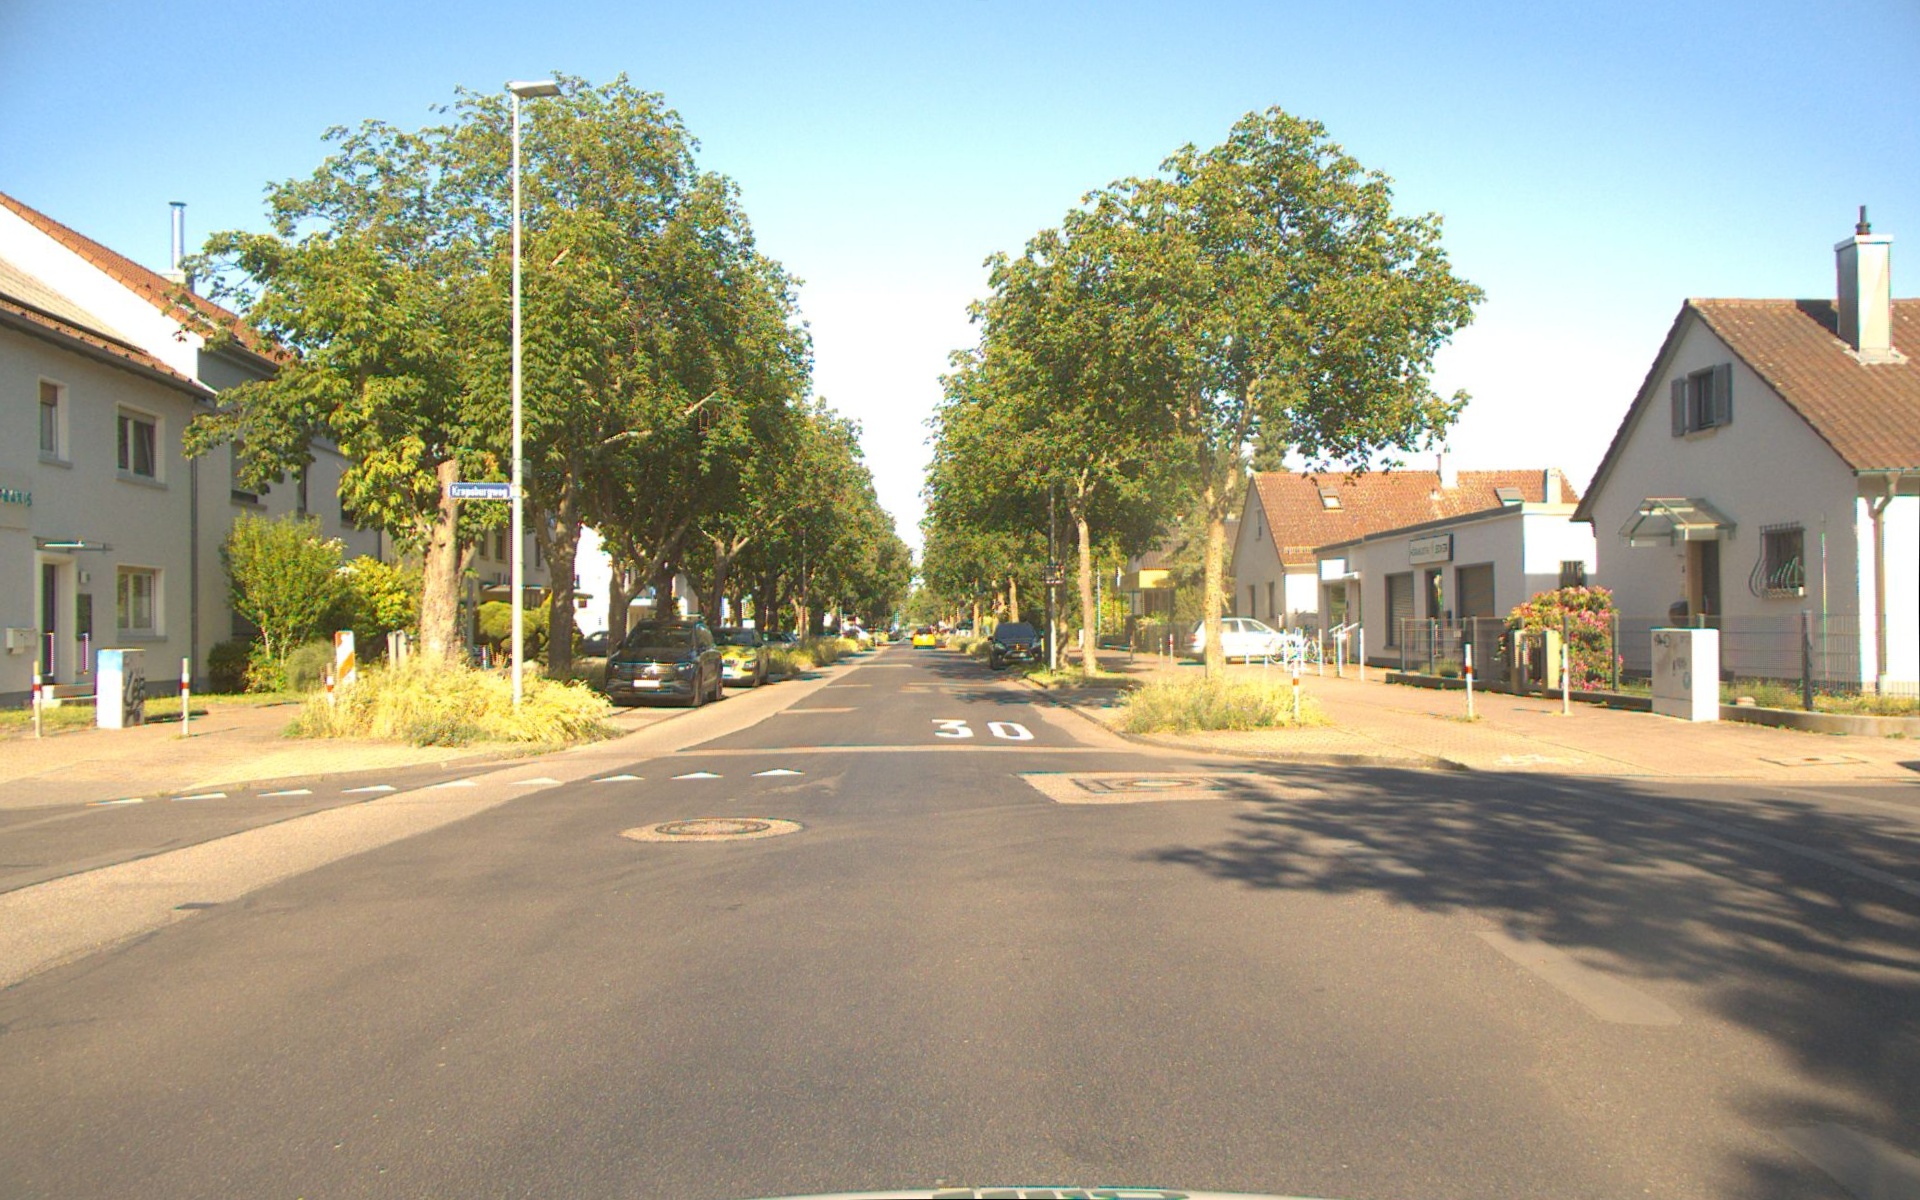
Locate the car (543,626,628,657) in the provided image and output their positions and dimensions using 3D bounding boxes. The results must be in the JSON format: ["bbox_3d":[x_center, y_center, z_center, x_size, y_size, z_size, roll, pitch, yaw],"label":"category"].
[{"bbox_3d":[-21.211,2.325,93.786,4.466,1.646,1.998,1,0,-5],"label":"car"}]

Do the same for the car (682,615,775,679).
[{"bbox_3d":[-6.210,1.280,44.855,1.899,1.637,4.382,1,-2,0],"label":"car"}]

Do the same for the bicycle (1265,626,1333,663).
[{"bbox_3d":[10.267,1.341,50.125,1.919,1.016,0.576,-2,0,-3],"label":"bicycle"}]

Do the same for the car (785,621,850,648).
[{"bbox_3d":[-9.933,2.407,115.009,4.458,1.796,1.997,1,0,-6],"label":"car"}]

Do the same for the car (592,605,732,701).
[{"bbox_3d":[-5.889,1.066,33.262,1.913,1.757,4.873,1,-2,0],"label":"car"}]

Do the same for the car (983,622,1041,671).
[{"bbox_3d":[1.888,1.715,61.114,1.816,1.654,4.467,-2,-2,-2],"label":"car"}]

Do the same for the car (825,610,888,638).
[{"bbox_3d":[-8.959,2.057,143.115,5.389,2.287,2.515,1,0,-3],"label":"car"}]

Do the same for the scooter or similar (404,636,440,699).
[{"bbox_3d":[-8.922,1.114,27.452,0.329,1.018,0.996,-1,-1,-5],"label":"scooter or similar"}]

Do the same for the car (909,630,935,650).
[{"bbox_3d":[-2.928,3.031,125.490,1.850,1.505,3.885,2,-1,-3],"label":"car"}]

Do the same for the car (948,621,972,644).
[{"bbox_3d":[-0.017,2.633,134.166,1.864,1.805,4.299,1,-1,-1],"label":"car"}]

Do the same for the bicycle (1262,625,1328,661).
[{"bbox_3d":[10.340,1.316,51.117,1.885,1.016,0.576,-2,0,-3],"label":"bicycle"}]

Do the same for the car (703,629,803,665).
[{"bbox_3d":[-9.658,2.202,77.451,4.462,1.538,1.840,1,0,-2],"label":"car"}]

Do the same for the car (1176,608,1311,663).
[{"bbox_3d":[9.074,1.117,53.154,3.907,1.514,1.901,-3,1,-3],"label":"car"}]
